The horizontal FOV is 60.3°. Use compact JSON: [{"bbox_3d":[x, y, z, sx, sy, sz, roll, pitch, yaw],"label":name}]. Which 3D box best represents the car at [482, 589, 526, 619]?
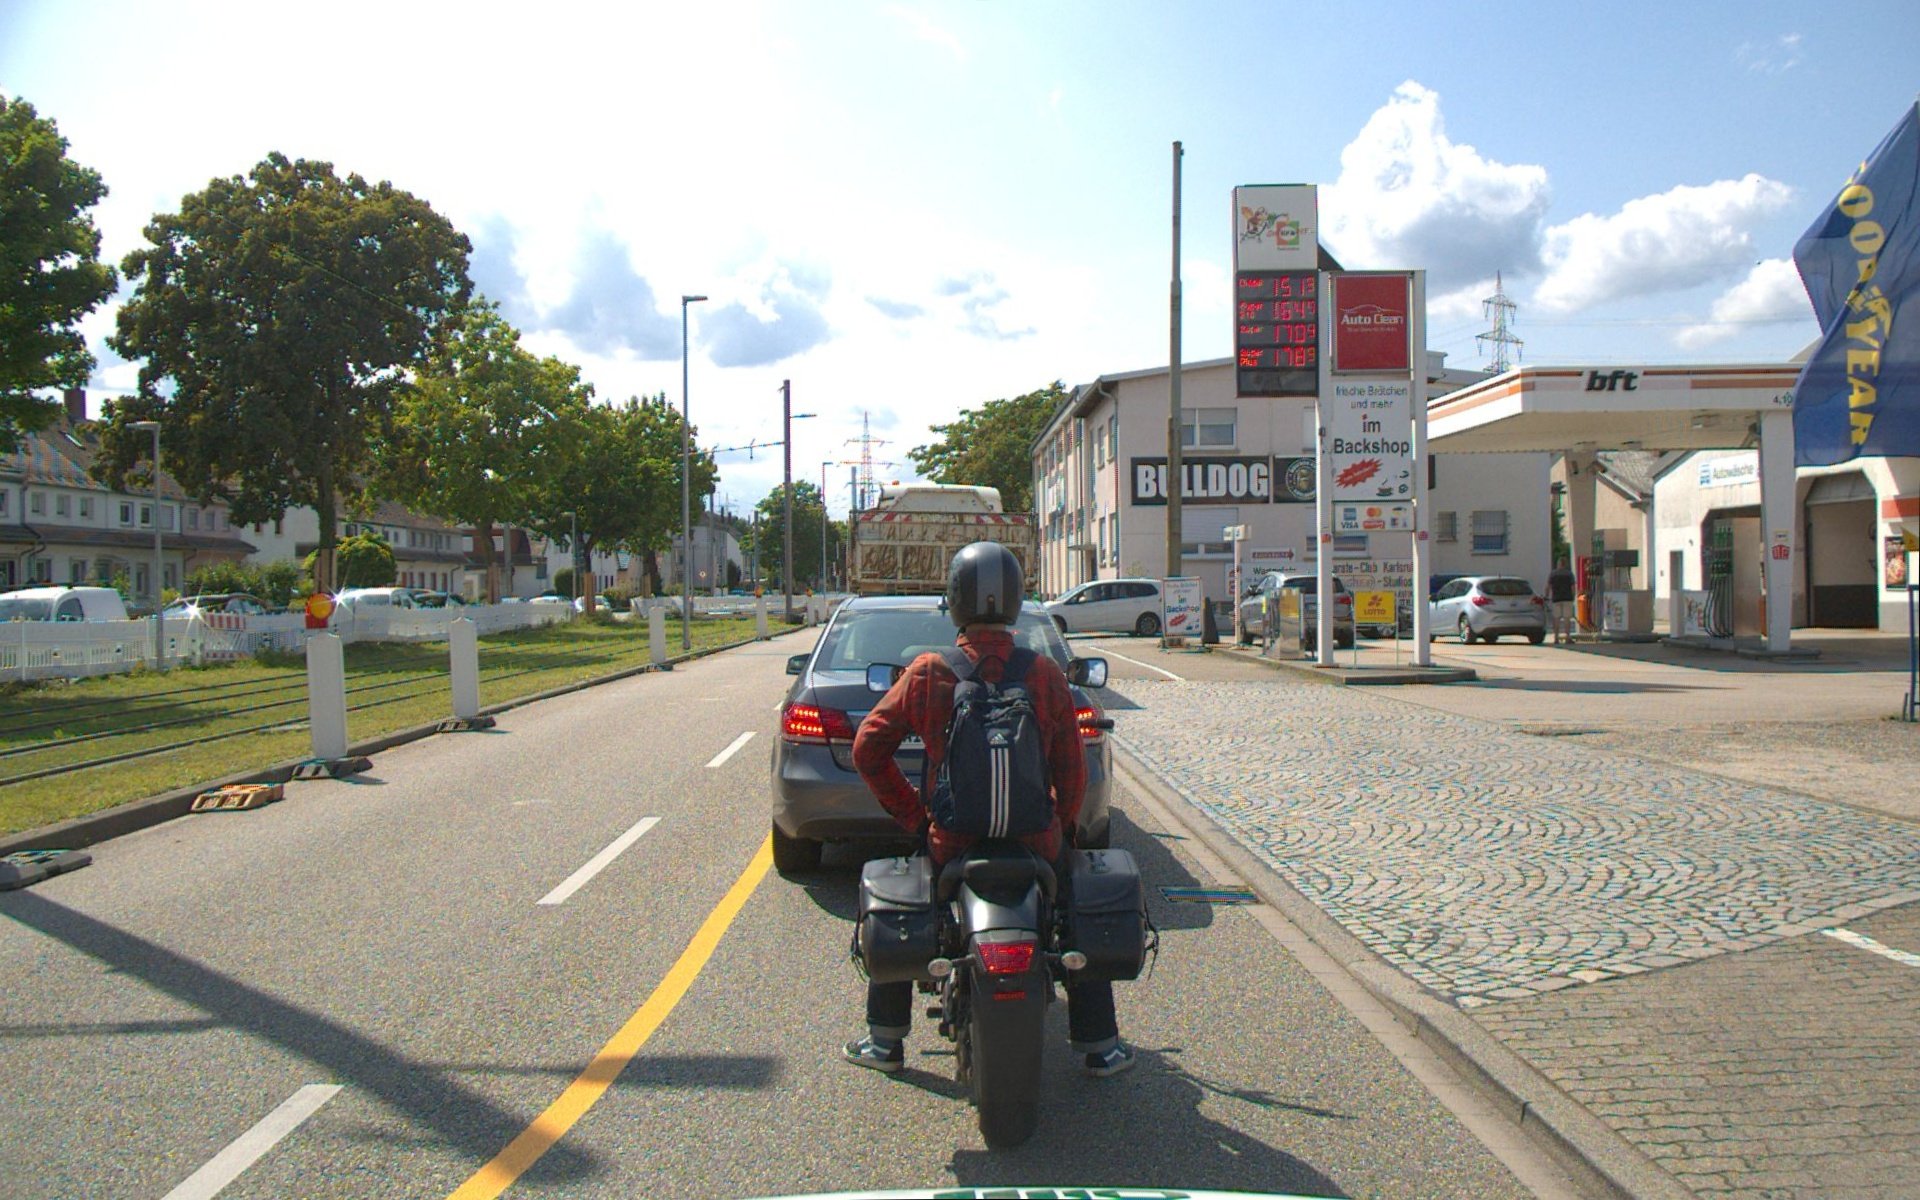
[{"bbox_3d":[-28.666,0.239,104.140,1.664,1.770,4.061,-1,0,-1],"label":"car"}]

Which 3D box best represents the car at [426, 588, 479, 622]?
[{"bbox_3d":[-28.182,0.253,91.928,1.664,1.770,4.061,-1,0,-1],"label":"car"}]

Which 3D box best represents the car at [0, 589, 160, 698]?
[{"bbox_3d":[-16.417,0.746,30.287,1.664,1.849,3.860,-1,0,-1],"label":"car"}]

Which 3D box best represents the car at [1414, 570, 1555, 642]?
[{"bbox_3d":[11.773,0.107,37.413,1.795,1.505,4.008,-1,0,-2],"label":"car"}]

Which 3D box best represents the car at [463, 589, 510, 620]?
[{"bbox_3d":[-28.063,0.268,98.138,1.664,1.770,4.061,-1,0,-1],"label":"car"}]

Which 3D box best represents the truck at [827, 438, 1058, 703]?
[{"bbox_3d":[-0.355,-0.419,25.462,2.910,3.362,8.404,-1,0,-2],"label":"truck"}]

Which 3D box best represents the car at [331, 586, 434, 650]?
[{"bbox_3d":[-16.923,0.498,48.608,1.664,1.770,3.860,-1,0,-1],"label":"car"}]

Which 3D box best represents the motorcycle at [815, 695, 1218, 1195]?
[{"bbox_3d":[0.119,0.901,5.187,0.956,1.031,2.431,1,0,-1],"label":"motorcycle"}]

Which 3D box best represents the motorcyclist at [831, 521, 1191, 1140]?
[{"bbox_3d":[0.130,0.618,5.069,0.950,1.662,1.214,1,0,-1],"label":"motorcyclist"}]

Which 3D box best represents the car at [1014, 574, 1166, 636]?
[{"bbox_3d":[3.670,0.123,47.077,4.029,1.652,1.682,-1,0,-9],"label":"car"}]

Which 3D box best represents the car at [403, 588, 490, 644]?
[{"bbox_3d":[-17.020,0.502,54.974,1.664,1.770,3.860,-1,0,-1],"label":"car"}]

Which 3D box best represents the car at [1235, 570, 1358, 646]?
[{"bbox_3d":[7.402,0.147,36.748,1.795,1.562,4.008,-1,0,-2],"label":"car"}]

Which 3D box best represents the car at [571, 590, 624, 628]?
[{"bbox_3d":[-17.335,0.413,79.277,1.664,1.770,3.860,-1,0,-1],"label":"car"}]

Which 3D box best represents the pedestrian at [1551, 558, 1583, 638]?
[{"bbox_3d":[13.135,-0.043,35.785,0.621,1.712,0.622,-1,0,20],"label":"pedestrian"}]

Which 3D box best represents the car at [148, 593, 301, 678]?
[{"bbox_3d":[-16.672,0.761,37.710,1.664,1.770,4.053,-1,0,-1],"label":"car"}]

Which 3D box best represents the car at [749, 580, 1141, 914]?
[{"bbox_3d":[-0.128,0.663,9.702,1.795,1.505,4.008,-1,0,-2],"label":"car"}]

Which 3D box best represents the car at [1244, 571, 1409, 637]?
[{"bbox_3d":[9.735,0.097,44.125,4.020,1.652,1.686,-1,0,1],"label":"car"}]
